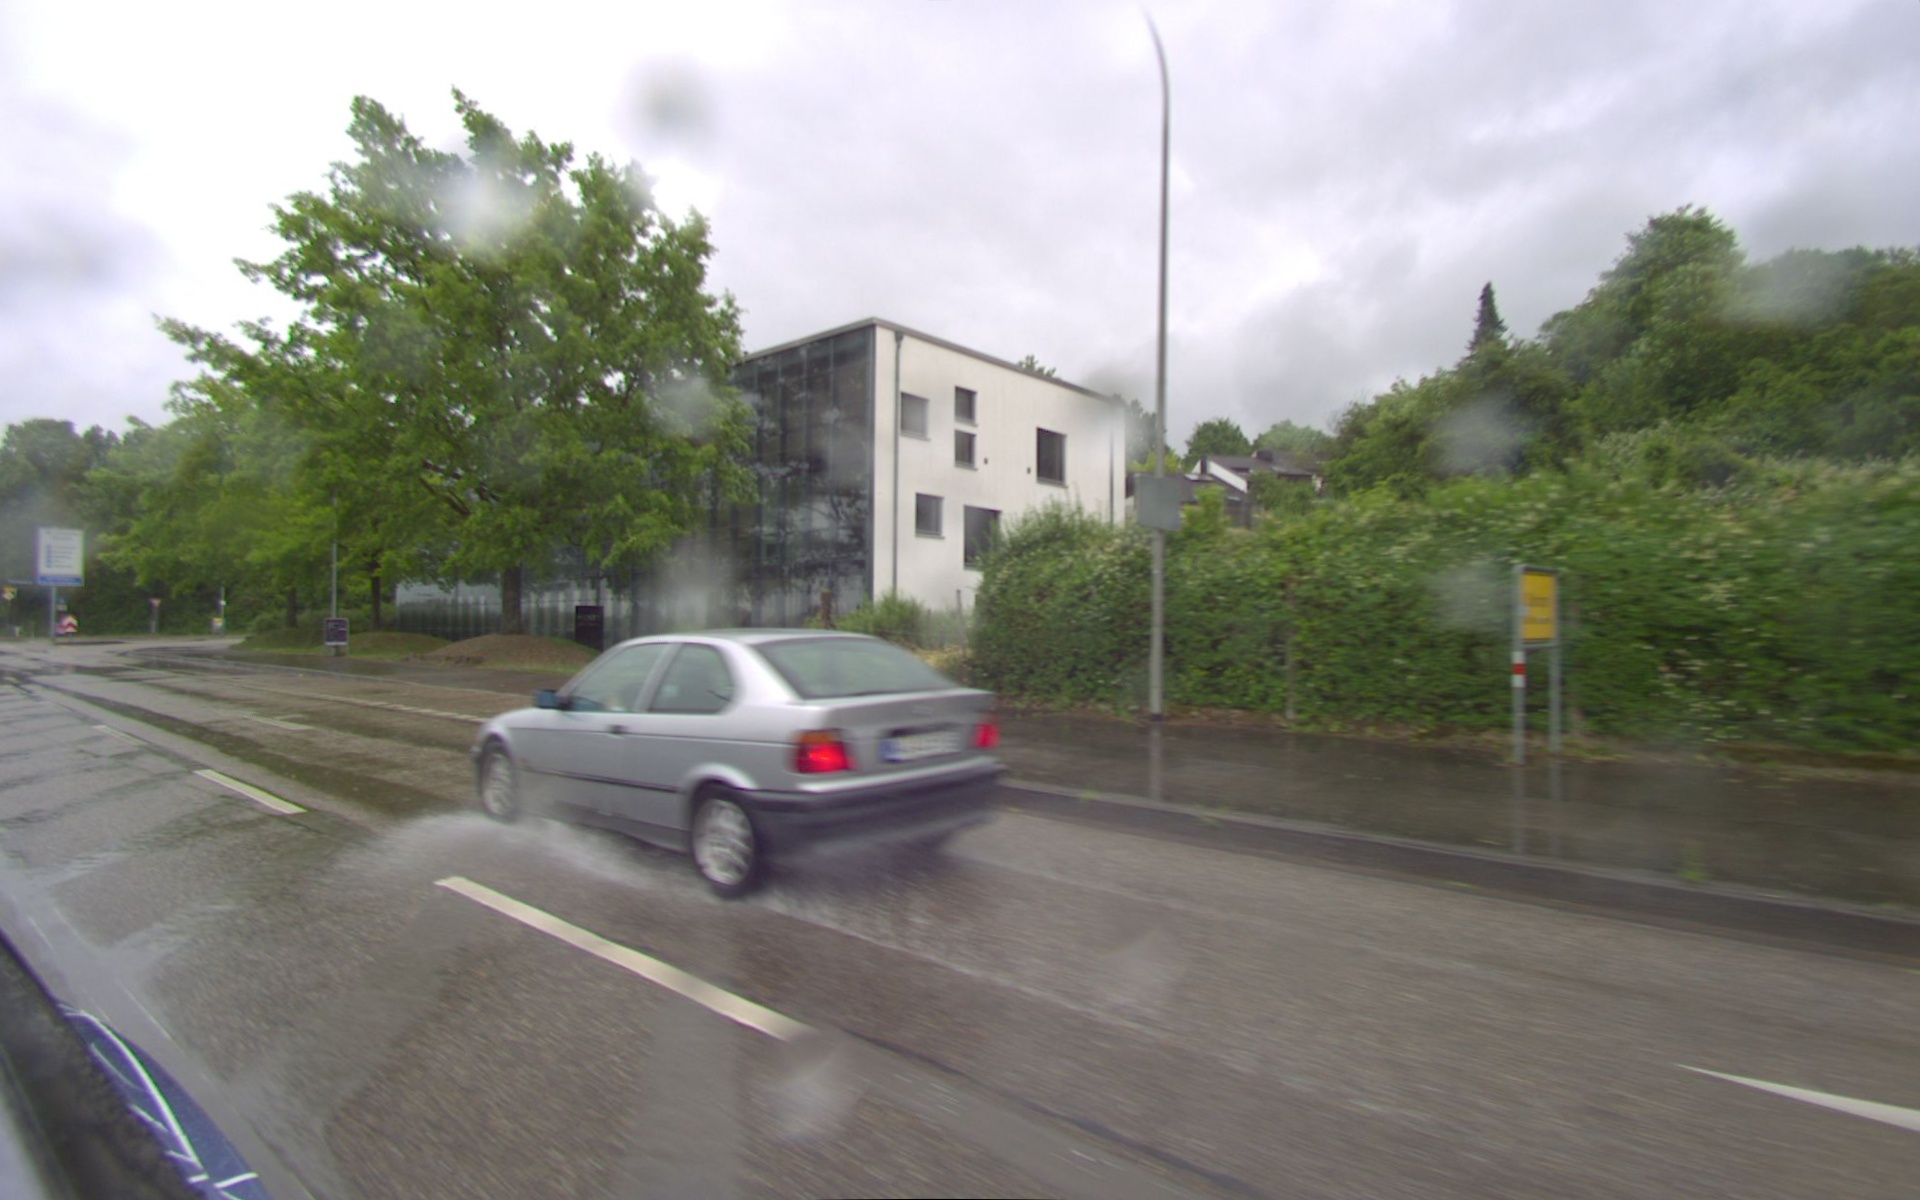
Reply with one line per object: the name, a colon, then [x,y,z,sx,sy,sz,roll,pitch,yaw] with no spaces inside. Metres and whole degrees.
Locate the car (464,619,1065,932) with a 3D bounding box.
car: [-1.419,0.807,6.344,3.904,1.360,1.683,-1,-2,42]
